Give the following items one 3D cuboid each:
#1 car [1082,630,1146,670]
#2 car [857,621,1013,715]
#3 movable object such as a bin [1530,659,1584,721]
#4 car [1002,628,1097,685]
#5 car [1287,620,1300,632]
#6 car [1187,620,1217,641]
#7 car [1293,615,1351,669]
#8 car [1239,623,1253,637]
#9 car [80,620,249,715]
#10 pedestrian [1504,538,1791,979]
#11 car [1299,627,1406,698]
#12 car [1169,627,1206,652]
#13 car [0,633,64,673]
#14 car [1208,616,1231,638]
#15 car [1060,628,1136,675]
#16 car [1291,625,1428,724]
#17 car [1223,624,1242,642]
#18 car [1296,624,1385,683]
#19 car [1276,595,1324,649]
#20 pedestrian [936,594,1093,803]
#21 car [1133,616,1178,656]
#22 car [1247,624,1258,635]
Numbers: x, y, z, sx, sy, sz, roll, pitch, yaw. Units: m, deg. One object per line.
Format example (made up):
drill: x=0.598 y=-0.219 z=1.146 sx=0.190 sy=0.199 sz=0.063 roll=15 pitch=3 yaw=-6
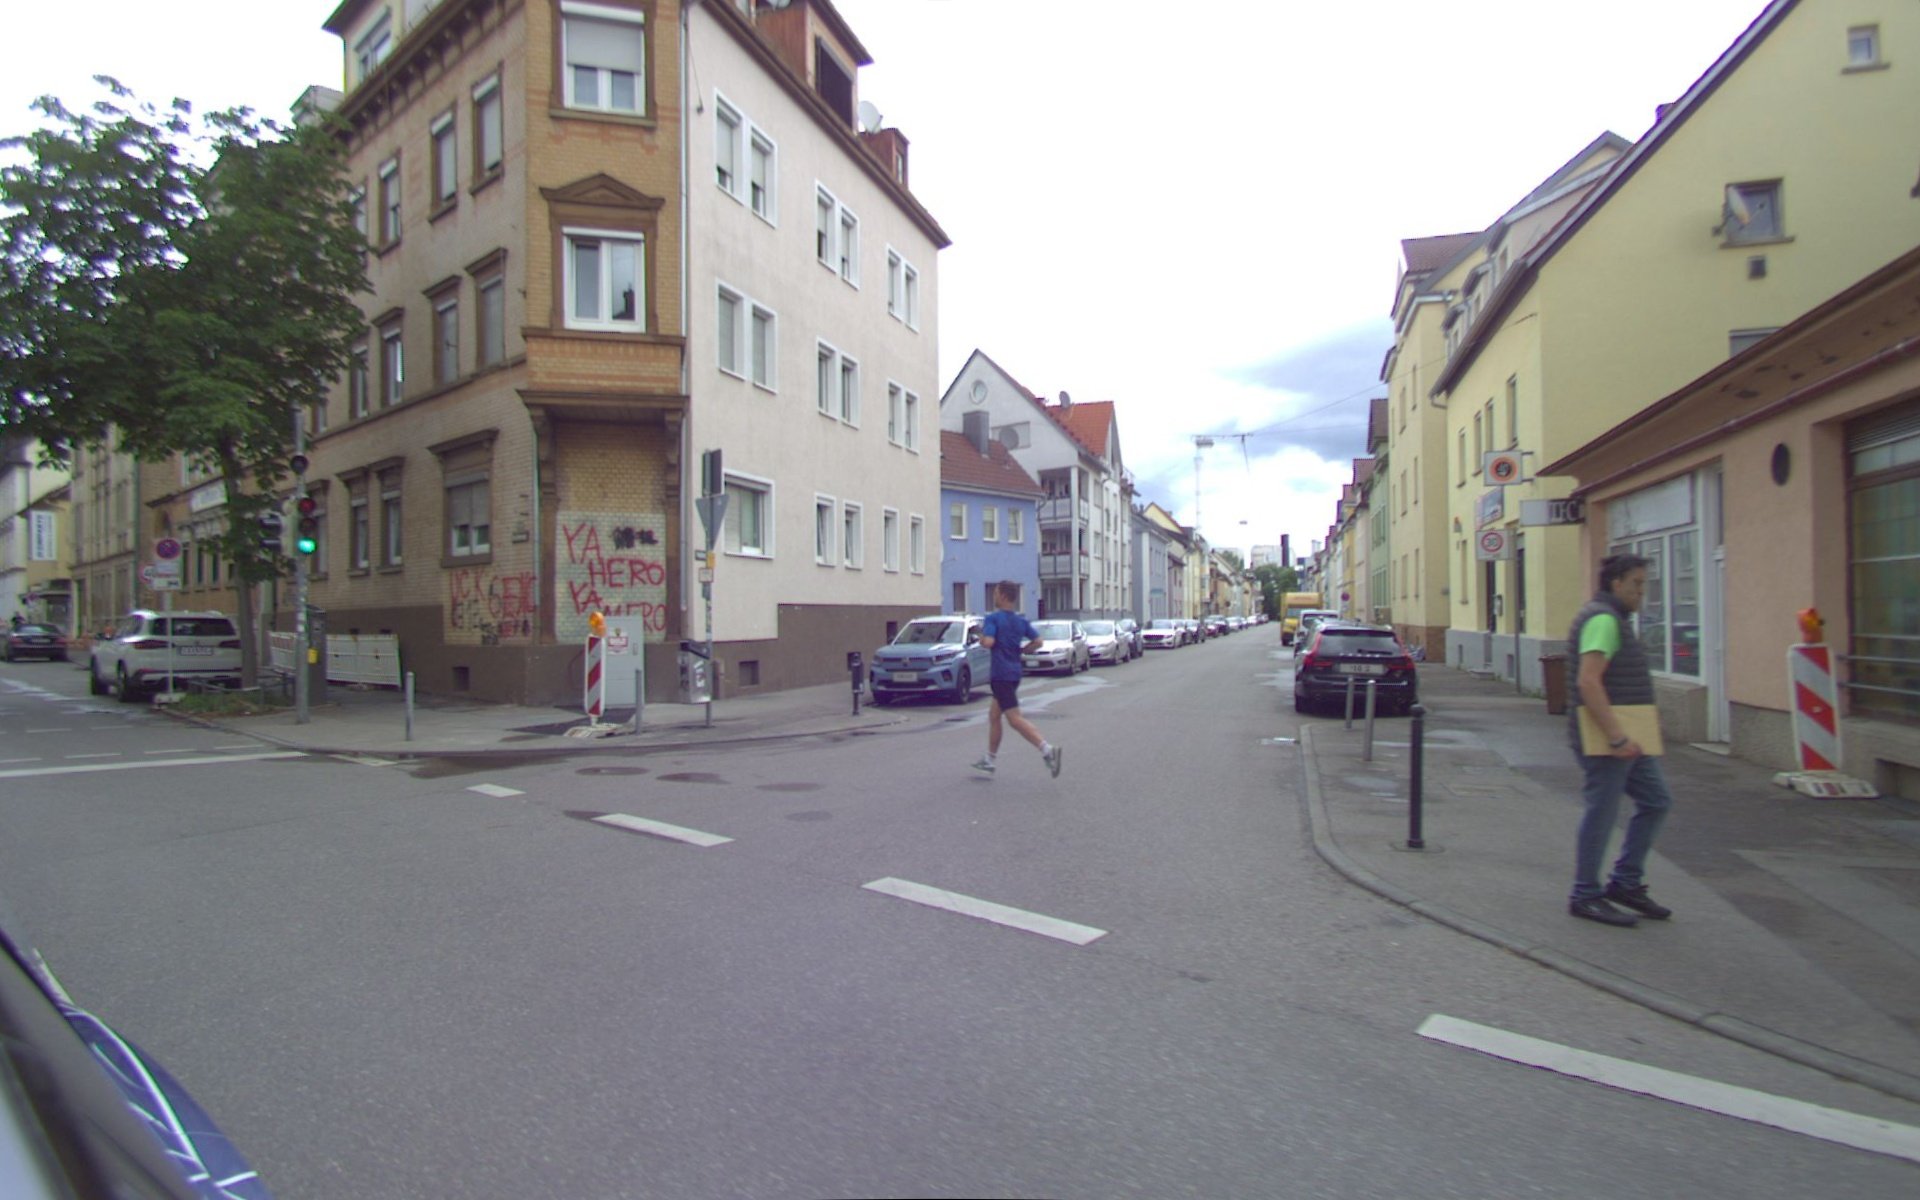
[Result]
car: x=5.927 y=1.904 z=38.741 sx=1.745 sy=1.465 sz=3.824 roll=-1 pitch=-3 yaw=19
car: x=-0.357 y=1.202 z=19.120 sx=1.762 sy=1.563 sz=3.698 roll=-1 pitch=-1 yaw=19
movable object such as a bin: x=9.041 y=1.348 z=15.327 sx=0.569 sy=0.885 sz=0.718 roll=-1 pitch=-2 yaw=42
car: x=2.556 y=1.540 z=28.088 sx=1.745 sy=1.465 sz=3.824 roll=-1 pitch=-3 yaw=19
car: x=60.545 y=4.710 z=183.637 sx=1.985 sy=2.029 sz=3.973 roll=-1 pitch=-2 yaw=20
car: x=17.777 y=2.257 z=74.117 sx=1.745 sy=1.465 sz=3.824 roll=-1 pitch=-3 yaw=19
car: x=13.505 y=1.551 z=37.902 sx=1.801 sy=1.894 sz=3.655 roll=-1 pitch=-2 yaw=17
car: x=39.035 y=4.039 z=138.139 sx=1.801 sy=1.894 sz=3.654 roll=-1 pitch=-2 yaw=17
car: x=-16.313 y=1.309 z=20.671 sx=4.739 sy=1.725 sz=1.871 roll=-2 pitch=-3 yaw=42
pedestrian: x=3.162 y=0.641 z=4.663 sx=0.982 sy=1.767 sz=0.731 roll=-2 pitch=-1 yaw=41
car: x=8.796 y=1.343 z=22.954 sx=1.895 sy=1.455 sz=3.666 roll=-1 pitch=-2 yaw=16
car: x=13.639 y=2.393 z=60.629 sx=1.745 sy=1.465 sz=3.824 roll=-1 pitch=-3 yaw=19
car: x=-34.574 y=1.942 z=37.502 sx=4.353 sy=1.393 sz=1.562 roll=-2 pitch=-3 yaw=42
car: x=22.567 y=2.359 z=87.916 sx=1.801 sy=1.894 sz=3.654 roll=-1 pitch=-2 yaw=17
car: x=4.583 y=1.682 z=33.271 sx=1.745 sy=1.465 sz=3.824 roll=-1 pitch=-3 yaw=19
car: x=6.702 y=1.164 z=17.364 sx=1.897 sy=1.455 sz=4.360 roll=-1 pitch=-2 yaw=19
car: x=29.893 y=3.622 z=111.052 sx=1.801 sy=1.894 sz=3.654 roll=-1 pitch=-2 yaw=17
car: x=10.147 y=1.382 z=27.210 sx=1.895 sy=1.455 sz=3.656 roll=-1 pitch=-2 yaw=16
car: x=18.525 y=1.205 z=55.042 sx=2.308 sy=2.776 sz=6.830 roll=-1 pitch=-2 yaw=19
pedestrian: x=0.479 y=0.827 z=9.022 sx=1.155 sy=1.731 sz=0.731 roll=-2 pitch=-1 yaw=38
car: x=9.771 y=1.780 z=50.457 sx=1.801 sy=1.894 sz=3.654 roll=-1 pitch=-2 yaw=17
car: x=50.297 y=5.011 z=173.953 sx=1.801 sy=1.894 sz=3.654 roll=-1 pitch=-2 yaw=17
